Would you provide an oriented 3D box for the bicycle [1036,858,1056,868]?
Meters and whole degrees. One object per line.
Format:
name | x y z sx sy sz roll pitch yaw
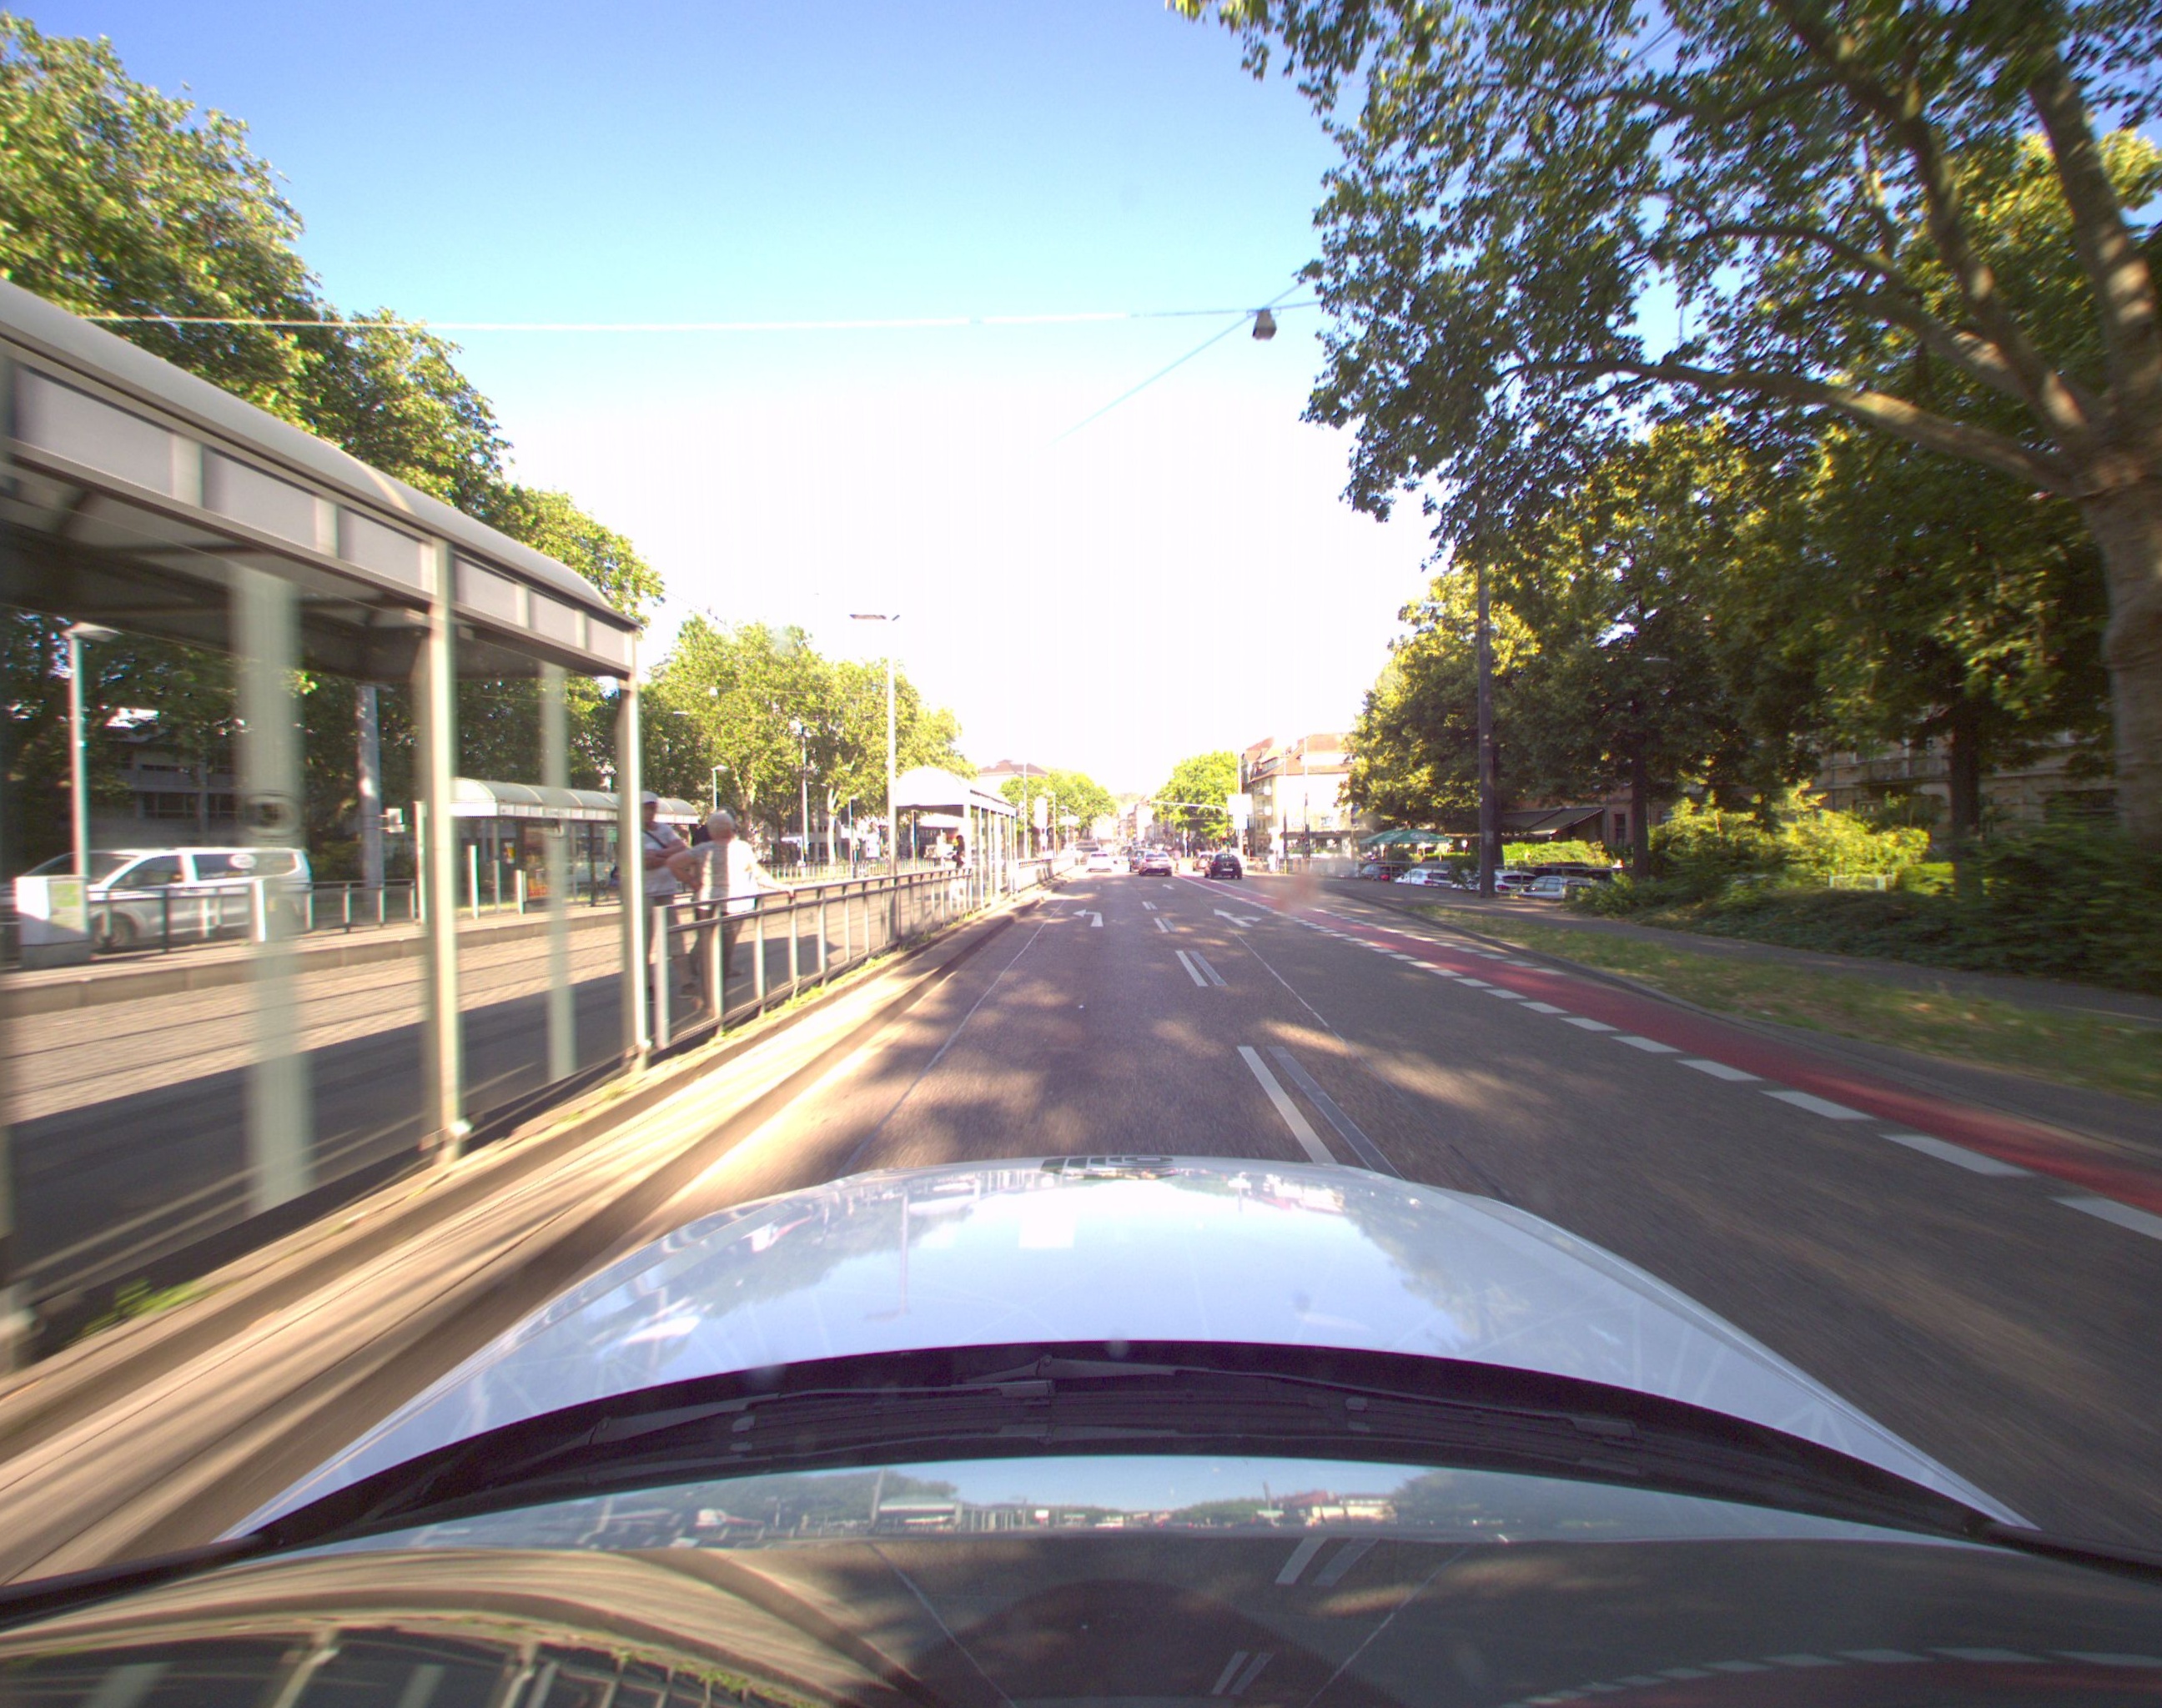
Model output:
bicycle | -2.942 0.754 68.665 1.596 0.816 0.530 -1 0 25

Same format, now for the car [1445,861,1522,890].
car | 22.356 1.157 45.169 4.266 1.406 1.944 -3 1 -33

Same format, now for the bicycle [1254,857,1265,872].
bicycle | 13.219 0.760 60.385 0.496 1.075 1.800 0 -1 2

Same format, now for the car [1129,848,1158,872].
car | 4.348 0.400 57.410 1.794 1.638 4.046 -1 0 1

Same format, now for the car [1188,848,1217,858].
car | 18.007 -0.129 121.019 3.983 1.510 1.796 -1 0 -7

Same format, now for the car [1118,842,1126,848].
car | 10.308 -2.282 205.098 1.788 1.510 4.000 -1 0 0

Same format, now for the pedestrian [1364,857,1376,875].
pedestrian | 21.979 0.915 61.872 0.645 1.338 0.632 2 0 2

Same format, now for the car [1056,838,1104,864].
car | -0.154 -0.284 88.707 5.016 2.743 2.066 0 -1 -11

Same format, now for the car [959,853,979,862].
car | -19.309 0.565 140.504 1.779 1.510 4.030 -1 0 20

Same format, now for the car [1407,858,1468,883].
car | 22.646 1.011 51.709 4.018 1.348 1.760 -3 1 -36

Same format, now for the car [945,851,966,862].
car | -21.776 0.393 141.455 1.779 1.955 4.020 -1 0 20

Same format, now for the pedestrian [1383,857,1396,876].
pedestrian | 21.888 0.869 57.766 0.645 1.338 0.632 2 0 2

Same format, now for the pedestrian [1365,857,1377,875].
pedestrian | 22.379 0.926 62.807 0.645 1.338 0.632 2 0 2

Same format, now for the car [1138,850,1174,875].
car | 4.575 0.496 50.252 1.922 1.472 4.856 -1 0 2

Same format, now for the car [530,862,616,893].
car | -41.848 1.881 67.303 2.131 2.335 5.756 -1 0 25

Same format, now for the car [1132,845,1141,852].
car | 12.378 -1.165 182.123 1.788 1.510 4.000 -1 0 0

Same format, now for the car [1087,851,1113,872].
car | 1.361 0.503 59.226 1.802 1.452 4.001 0 0 1

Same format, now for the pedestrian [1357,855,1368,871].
pedestrian | 23.360 0.764 67.569 0.645 1.338 0.632 2 0 2

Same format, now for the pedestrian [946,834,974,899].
pedestrian | -3.157 0.335 21.324 0.592 1.678 0.590 0 -1 6

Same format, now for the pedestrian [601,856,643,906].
pedestrian | -12.894 0.753 22.903 0.667 1.324 0.757 -4 0 0

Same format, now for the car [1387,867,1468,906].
car | 15.140 1.377 35.836 1.788 1.579 4.444 0 -1 1

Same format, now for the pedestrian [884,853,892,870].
pedestrian | -18.451 0.732 77.985 0.533 1.552 0.677 -1 0 1

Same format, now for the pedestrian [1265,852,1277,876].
pedestrian | 12.975 0.687 55.617 0.642 1.563 0.635 2 0 20

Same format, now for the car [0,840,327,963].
car | -19.140 0.887 16.962 2.060 2.124 5.089 -3 -1 0

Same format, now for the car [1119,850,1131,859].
car | 9.090 0.123 167.565 1.782 1.826 4.013 -1 0 12

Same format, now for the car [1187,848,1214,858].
car | 19.249 -0.178 131.576 3.980 1.510 1.797 -1 0 -5

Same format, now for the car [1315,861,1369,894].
car | 15.287 1.344 47.943 1.789 1.898 4.358 0 -1 0

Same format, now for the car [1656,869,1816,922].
car | 22.014 1.377 27.478 3.975 1.513 1.800 -2 1 -1

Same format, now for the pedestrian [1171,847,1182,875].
pedestrian | 6.460 0.451 55.368 0.654 1.871 0.678 -1 0 1

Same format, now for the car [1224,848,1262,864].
car | 18.188 0.228 91.416 4.115 1.692 1.829 0 0 16

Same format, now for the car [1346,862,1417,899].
car | 15.435 1.331 42.082 1.791 1.803 4.203 0 -1 -5

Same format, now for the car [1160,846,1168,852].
car | 21.400 -1.240 210.122 1.788 1.510 4.001 -1 0 1

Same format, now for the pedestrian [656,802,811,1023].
pedestrian | -2.808 0.425 6.603 0.792 1.634 0.872 1 0 39

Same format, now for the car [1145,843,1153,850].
car | 21.808 -2.426 260.565 2.318 2.013 4.978 -1 0 1

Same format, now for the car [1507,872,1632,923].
car | 15.083 1.306 25.366 1.788 1.441 3.576 0 -1 0

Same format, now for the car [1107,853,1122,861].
car | 6.595 0.515 160.175 1.779 1.510 4.020 -1 -1 20

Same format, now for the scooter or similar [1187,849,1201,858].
scooter or similar | 15.979 -0.063 115.159 1.926 1.280 0.557 -1 0 43

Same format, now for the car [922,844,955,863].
car | -24.875 -0.150 142.516 2.473 3.165 6.572 -1 0 24

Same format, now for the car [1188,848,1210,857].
car | 21.110 -0.239 145.758 4.021 1.510 1.779 -1 0 -41

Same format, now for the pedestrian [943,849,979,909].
pedestrian | -2.661 0.537 18.090 0.676 1.309 0.593 0 0 2

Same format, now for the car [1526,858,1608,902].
car | 22.288 1.146 37.316 4.018 1.735 1.780 -3 1 -36

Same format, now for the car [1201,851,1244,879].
car | 7.746 0.560 44.920 1.793 1.439 4.046 1 0 1

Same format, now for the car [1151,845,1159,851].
car | 21.385 -1.690 235.537 1.788 1.522 4.001 -1 0 1

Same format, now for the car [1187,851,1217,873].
car | 9.164 0.597 61.939 1.788 1.510 4.002 0 1 1

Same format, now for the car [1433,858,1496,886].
car | 22.942 1.046 48.685 4.019 1.480 1.780 -3 1 -38

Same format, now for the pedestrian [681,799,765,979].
pedestrian | -3.657 0.336 8.304 0.656 1.722 0.703 1 0 -34

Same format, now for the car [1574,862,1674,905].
car | 22.673 1.172 33.999 4.011 1.513 1.784 -2 1 -29

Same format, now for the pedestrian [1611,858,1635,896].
pedestrian | 25.077 1.068 37.690 0.646 1.746 0.631 -1 0 -3

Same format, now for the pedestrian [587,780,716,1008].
pedestrian | -3.659 0.322 6.985 0.647 1.841 0.712 0 0 11

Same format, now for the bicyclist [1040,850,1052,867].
bicyclist | -2.947 0.353 68.665 0.793 1.414 0.530 -1 0 25

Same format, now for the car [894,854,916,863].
car | -31.526 0.736 146.114 1.778 1.510 4.023 -1 0 25

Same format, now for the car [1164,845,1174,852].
car | 21.906 -1.363 203.580 2.097 1.776 4.342 -1 0 1

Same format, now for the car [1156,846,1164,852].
car | 20.903 -1.267 216.296 1.788 1.510 4.001 -1 0 1

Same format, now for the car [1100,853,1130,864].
car | 3.736 0.497 89.493 2.903 1.162 2.066 0 -1 -11

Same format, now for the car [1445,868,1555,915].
car | 15.189 1.310 29.824 1.788 1.579 4.554 0 -1 1
